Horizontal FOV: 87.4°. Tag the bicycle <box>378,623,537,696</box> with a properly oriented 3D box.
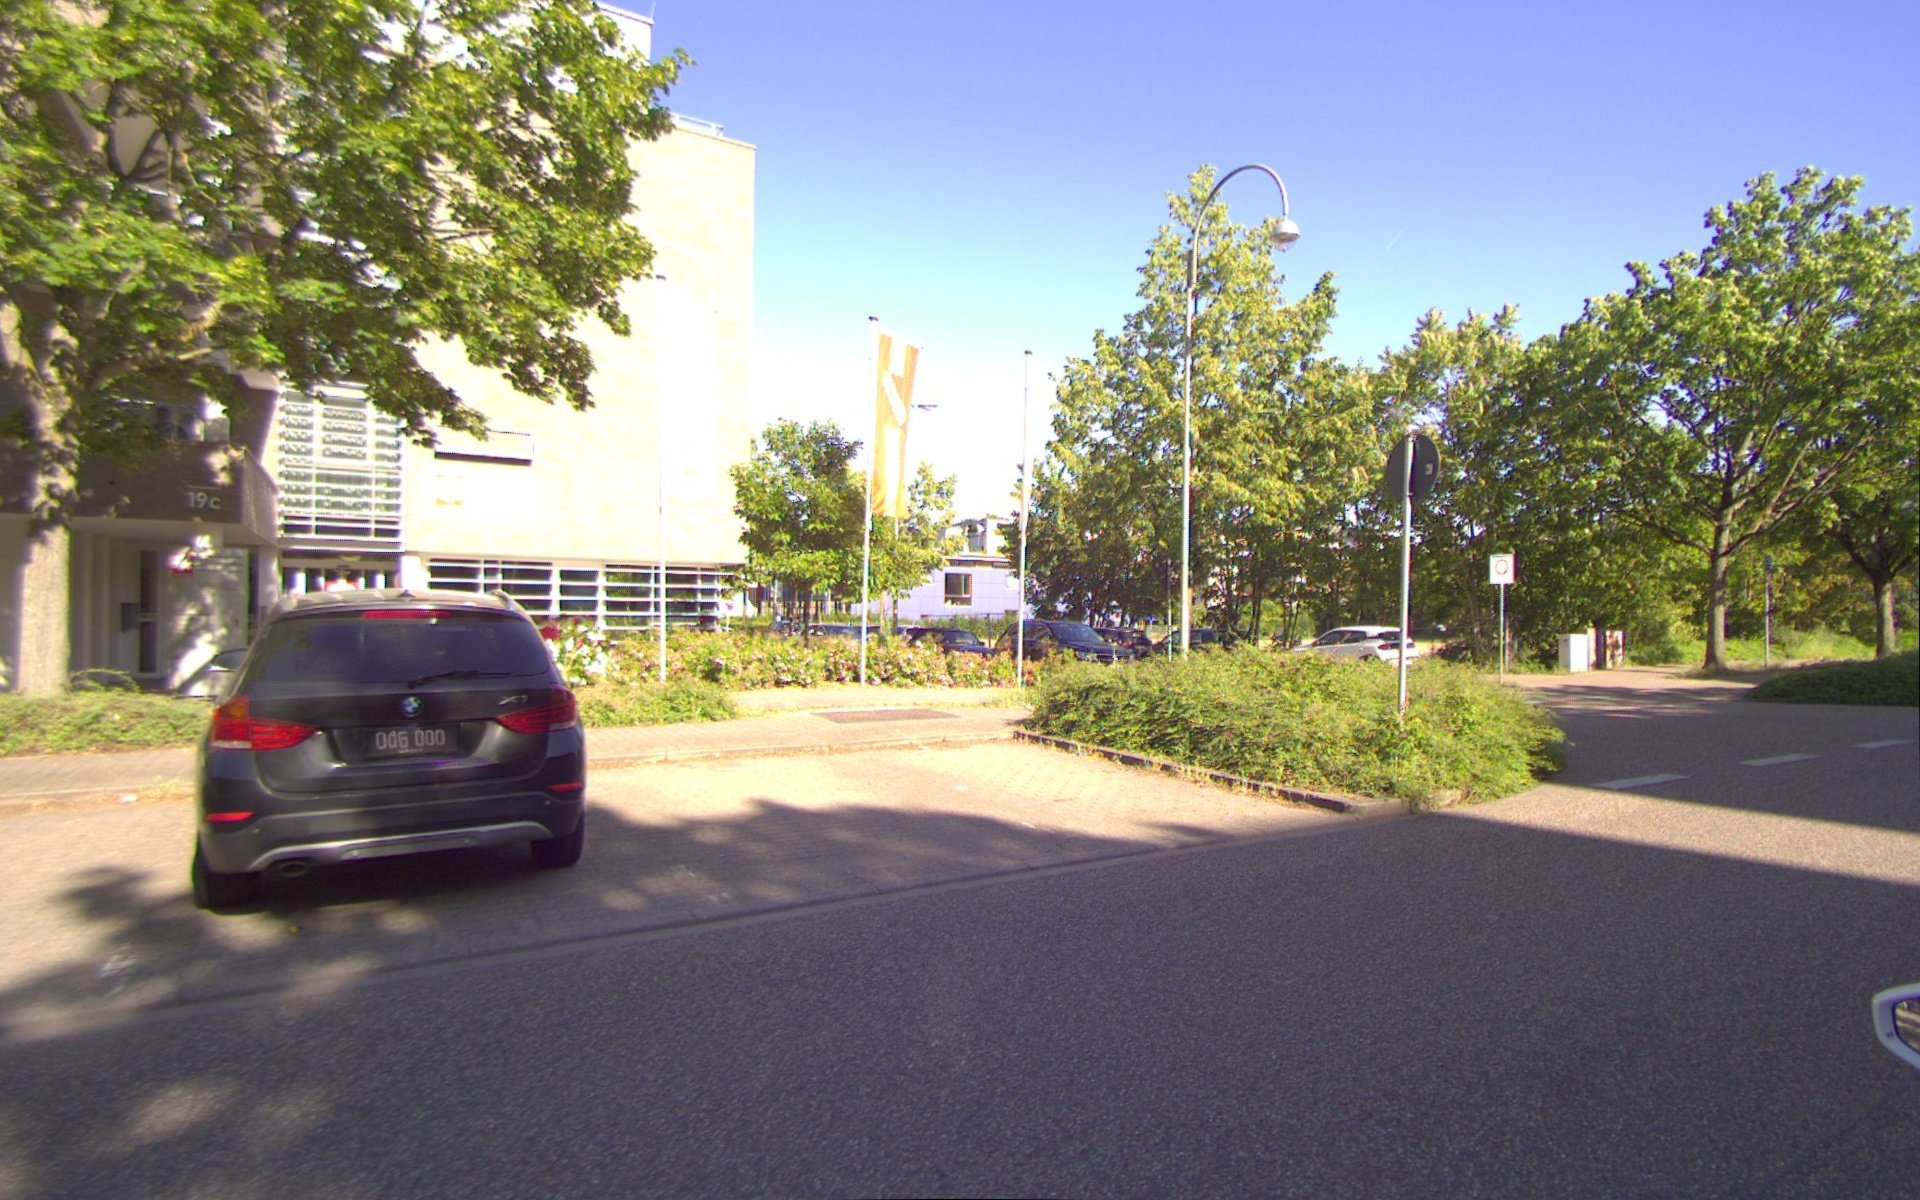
[{"bbox_3d":[-7.755,0.898,15.553,2.168,1.061,0.435,1,0,-31],"label":"bicycle"}]

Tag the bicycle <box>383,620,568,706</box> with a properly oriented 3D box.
[{"bbox_3d":[-6.381,0.816,13.293,2.168,1.061,0.435,1,0,-31],"label":"bicycle"}]

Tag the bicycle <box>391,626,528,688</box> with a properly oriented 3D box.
[{"bbox_3d":[-8.996,1.011,18.103,2.168,1.061,0.435,1,0,-31],"label":"bicycle"}]

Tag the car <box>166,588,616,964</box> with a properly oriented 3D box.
[{"bbox_3d":[-3.502,0.724,6.371,1.751,1.540,4.173,1,0,-30],"label":"car"}]

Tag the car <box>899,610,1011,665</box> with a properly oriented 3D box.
[{"bbox_3d":[-0.214,1.075,29.972,1.567,1.524,3.755,1,-1,-33],"label":"car"}]

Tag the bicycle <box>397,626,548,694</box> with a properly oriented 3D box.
[{"bbox_3d":[-7.933,0.960,16.401,2.168,1.061,0.435,1,0,-31],"label":"bicycle"}]

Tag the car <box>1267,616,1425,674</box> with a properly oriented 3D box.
[{"bbox_3d":[10.673,1.253,28.054,1.605,1.470,4.060,1,-3,-29],"label":"car"}]

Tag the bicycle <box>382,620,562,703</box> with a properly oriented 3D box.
[{"bbox_3d":[-6.627,0.814,13.705,2.168,1.061,0.435,1,0,-31],"label":"bicycle"}]

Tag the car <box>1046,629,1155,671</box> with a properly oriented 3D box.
[{"bbox_3d":[5.188,1.834,37.649,1.663,1.456,4.402,1,-2,-32],"label":"car"}]

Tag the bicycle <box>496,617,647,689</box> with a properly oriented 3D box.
[{"bbox_3d":[-6.115,0.822,15.875,2.168,1.061,0.435,1,0,-31],"label":"bicycle"}]

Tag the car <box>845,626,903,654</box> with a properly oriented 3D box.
[{"bbox_3d":[-4.888,2.241,56.437,1.674,1.514,4.045,1,-2,-31],"label":"car"}]

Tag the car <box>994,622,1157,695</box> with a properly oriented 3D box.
[{"bbox_3d":[2.735,1.391,24.751,1.870,1.641,4.306,1,-2,-29],"label":"car"}]

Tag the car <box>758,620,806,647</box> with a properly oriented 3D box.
[{"bbox_3d":[-11.944,2.229,67.040,1.711,1.674,4.290,-1,0,-31],"label":"car"}]

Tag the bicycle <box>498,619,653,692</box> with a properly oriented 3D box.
[{"bbox_3d":[-5.885,0.834,15.441,2.168,1.061,0.435,1,0,-31],"label":"bicycle"}]

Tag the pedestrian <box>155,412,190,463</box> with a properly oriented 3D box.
[{"bbox_3d":[-12.283,-2.521,15.667,0.424,0.695,0.412,1,0,-40],"label":"pedestrian"}]

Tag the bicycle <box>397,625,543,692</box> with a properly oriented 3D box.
[{"bbox_3d":[-8.198,0.968,16.864,2.168,1.061,0.435,1,0,-31],"label":"bicycle"}]

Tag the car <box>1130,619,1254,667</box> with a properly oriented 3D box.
[{"bbox_3d":[7.675,1.416,33.585,1.809,1.491,4.036,1,-2,-30],"label":"car"}]

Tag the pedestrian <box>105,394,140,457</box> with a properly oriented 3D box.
[{"bbox_3d":[-12.520,-2.593,15.022,0.360,0.809,0.676,1,0,-37],"label":"pedestrian"}]

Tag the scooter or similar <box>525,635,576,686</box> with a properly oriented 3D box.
[{"bbox_3d":[-8.322,1.210,20.399,0.858,0.967,0.800,1,0,-29],"label":"scooter or similar"}]

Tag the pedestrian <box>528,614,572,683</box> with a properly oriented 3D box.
[{"bbox_3d":[-8.320,0.973,20.380,0.736,1.379,0.665,1,-1,-30],"label":"pedestrian"}]

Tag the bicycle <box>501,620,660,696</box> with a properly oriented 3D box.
[{"bbox_3d":[-5.635,0.848,14.988,2.168,1.061,0.435,1,0,-31],"label":"bicycle"}]
